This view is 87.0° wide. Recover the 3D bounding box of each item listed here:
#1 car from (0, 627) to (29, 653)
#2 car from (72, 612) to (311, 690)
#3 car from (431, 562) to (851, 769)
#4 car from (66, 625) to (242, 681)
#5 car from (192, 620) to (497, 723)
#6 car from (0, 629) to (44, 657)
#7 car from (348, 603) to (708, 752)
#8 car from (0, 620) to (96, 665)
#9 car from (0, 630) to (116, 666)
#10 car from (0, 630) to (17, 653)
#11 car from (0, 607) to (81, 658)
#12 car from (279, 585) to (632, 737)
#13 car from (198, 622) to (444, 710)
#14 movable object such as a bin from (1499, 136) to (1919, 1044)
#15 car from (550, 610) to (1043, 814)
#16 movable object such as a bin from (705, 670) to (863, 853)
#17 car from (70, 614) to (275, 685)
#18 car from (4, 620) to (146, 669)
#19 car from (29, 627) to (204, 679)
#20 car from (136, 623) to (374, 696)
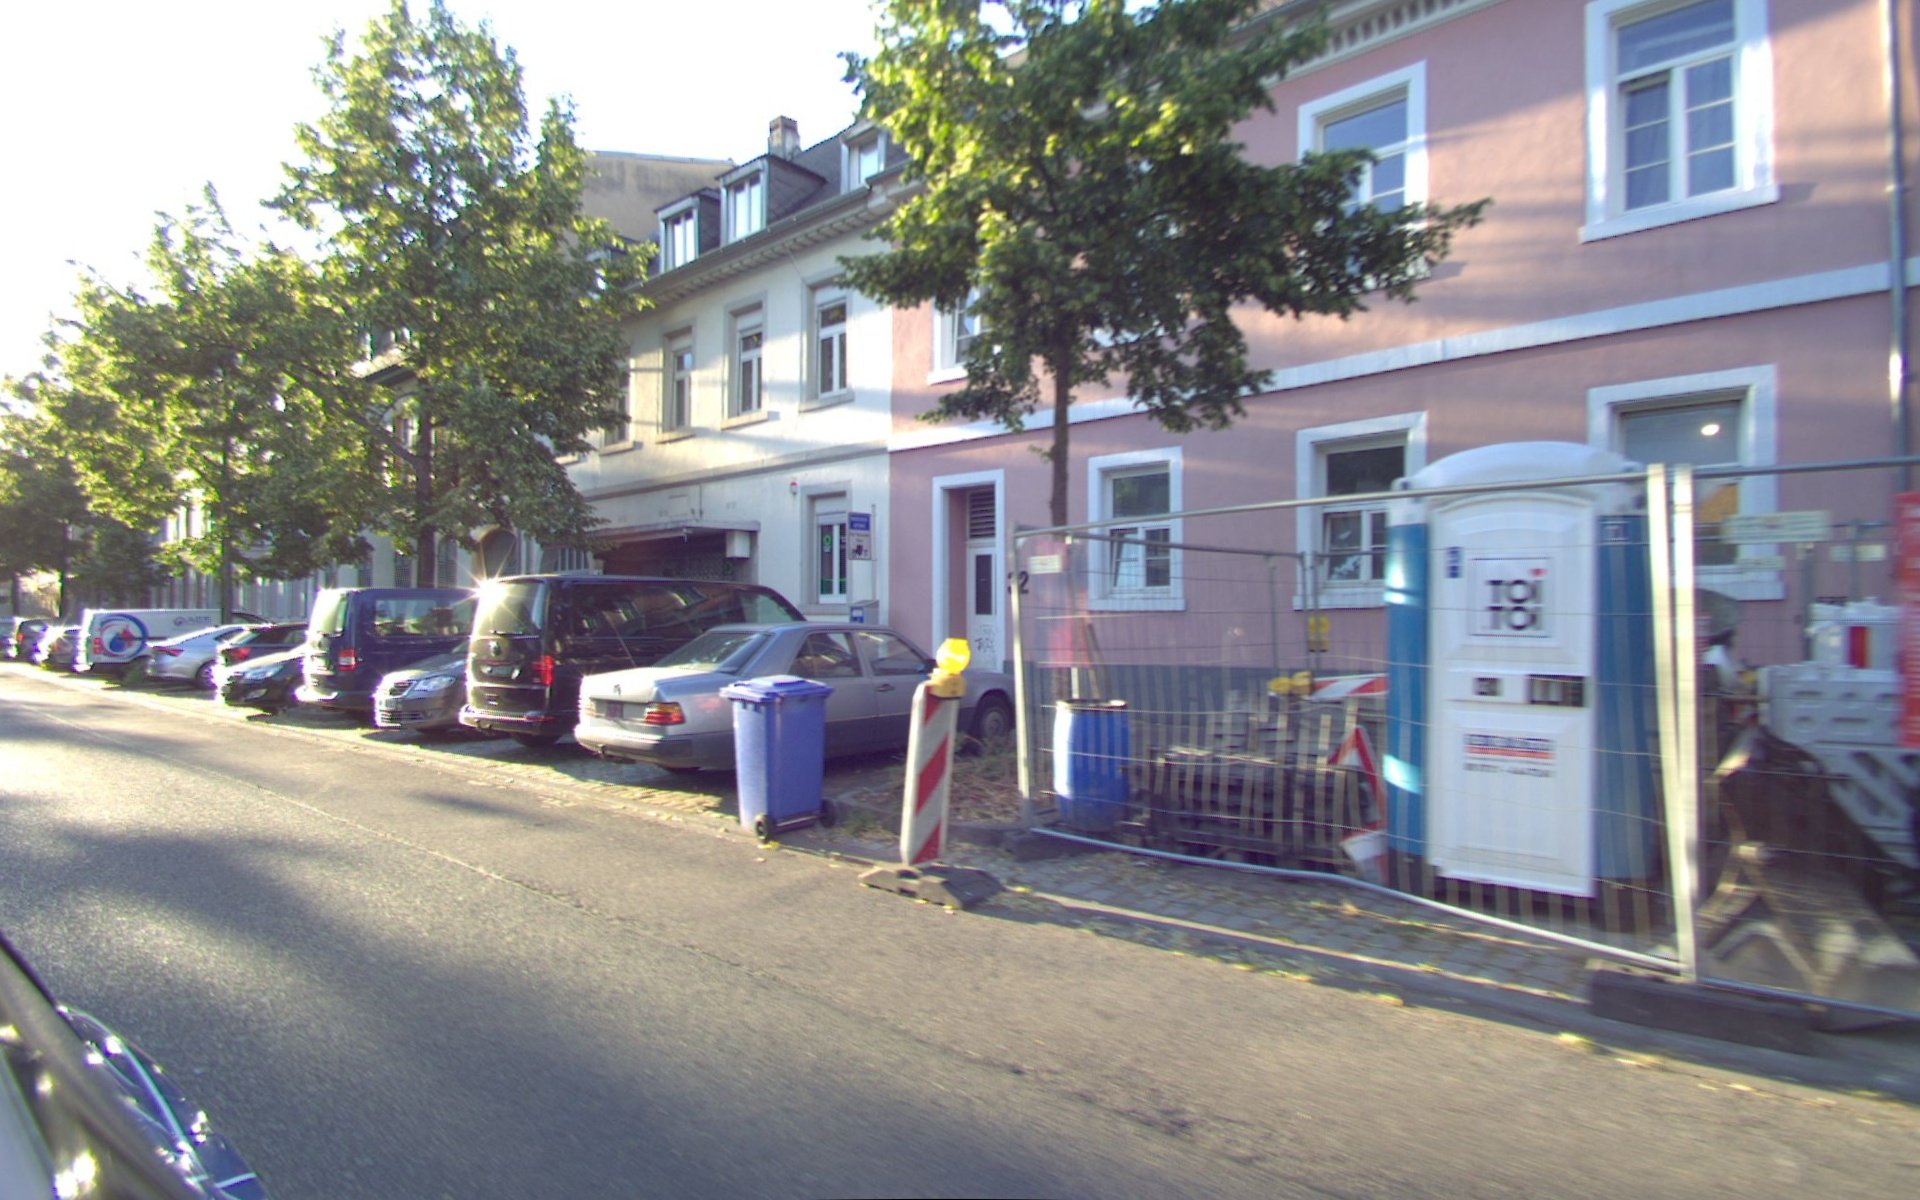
[{"bbox_3d":[-59.749,2.497,61.716,1.969,1.494,4.144,-2,-1,40],"label":"car"},{"bbox_3d":[-20.539,1.300,27.236,1.973,1.922,4.819,-2,-2,41],"label":"car"},{"bbox_3d":[-3.594,0.644,12.118,1.963,1.991,4.439,-2,-1,39],"label":"car"},{"bbox_3d":[-24.515,1.555,30.868,1.965,1.567,3.993,-2,-2,43],"label":"car"},{"bbox_3d":[-10.822,1.177,18.086,1.838,1.512,4.287,-2,-1,36],"label":"car"},{"bbox_3d":[-55.621,2.533,58.191,1.792,1.518,4.169,-2,-1,41],"label":"car"},{"bbox_3d":[-5.691,0.912,13.704,1.860,1.649,4.086,-2,-1,42],"label":"car"},{"bbox_3d":[-43.217,1.954,47.067,1.919,1.968,4.451,-2,-2,43],"label":"car"},{"bbox_3d":[-40.754,2.136,45.557,1.593,1.450,4.107,-2,-2,42],"label":"car"},{"bbox_3d":[-65.166,2.825,66.896,1.695,1.459,3.878,-2,0,38],"label":"car"},{"bbox_3d":[-51.013,1.775,54.297,2.170,2.641,5.600,-2,-1,41],"label":"car"},{"bbox_3d":[-7.618,0.832,15.612,2.067,1.991,4.436,-2,-1,42],"label":"car"},{"bbox_3d":[-12.849,1.254,20.500,1.905,1.512,3.879,-2,-1,43],"label":"car"},{"bbox_3d":[5.073,-0.057,3.382,5.301,2.991,2.597,-2,-2,41],"label":"movable object such as a bin"},{"bbox_3d":[-1.368,0.877,9.911,1.893,1.481,4.543,-2,-1,44],"label":"car"},{"bbox_3d":[-1.216,1.061,6.971,0.883,1.113,0.682,-2,-3,43],"label":"movable object such as a bin"},{"bbox_3d":[-22.553,1.351,29.105,1.893,1.884,4.381,-2,-2,41],"label":"car"},{"bbox_3d":[-35.274,1.727,40.412,1.807,1.820,4.093,-2,-2,43],"label":"car"},{"bbox_3d":[-26.694,1.642,32.115,1.962,1.495,3.996,-2,-2,41],"label":"car"},{"bbox_3d":[-16.793,1.346,24.260,1.734,1.496,4.429,-2,-1,43],"label":"car"}]
